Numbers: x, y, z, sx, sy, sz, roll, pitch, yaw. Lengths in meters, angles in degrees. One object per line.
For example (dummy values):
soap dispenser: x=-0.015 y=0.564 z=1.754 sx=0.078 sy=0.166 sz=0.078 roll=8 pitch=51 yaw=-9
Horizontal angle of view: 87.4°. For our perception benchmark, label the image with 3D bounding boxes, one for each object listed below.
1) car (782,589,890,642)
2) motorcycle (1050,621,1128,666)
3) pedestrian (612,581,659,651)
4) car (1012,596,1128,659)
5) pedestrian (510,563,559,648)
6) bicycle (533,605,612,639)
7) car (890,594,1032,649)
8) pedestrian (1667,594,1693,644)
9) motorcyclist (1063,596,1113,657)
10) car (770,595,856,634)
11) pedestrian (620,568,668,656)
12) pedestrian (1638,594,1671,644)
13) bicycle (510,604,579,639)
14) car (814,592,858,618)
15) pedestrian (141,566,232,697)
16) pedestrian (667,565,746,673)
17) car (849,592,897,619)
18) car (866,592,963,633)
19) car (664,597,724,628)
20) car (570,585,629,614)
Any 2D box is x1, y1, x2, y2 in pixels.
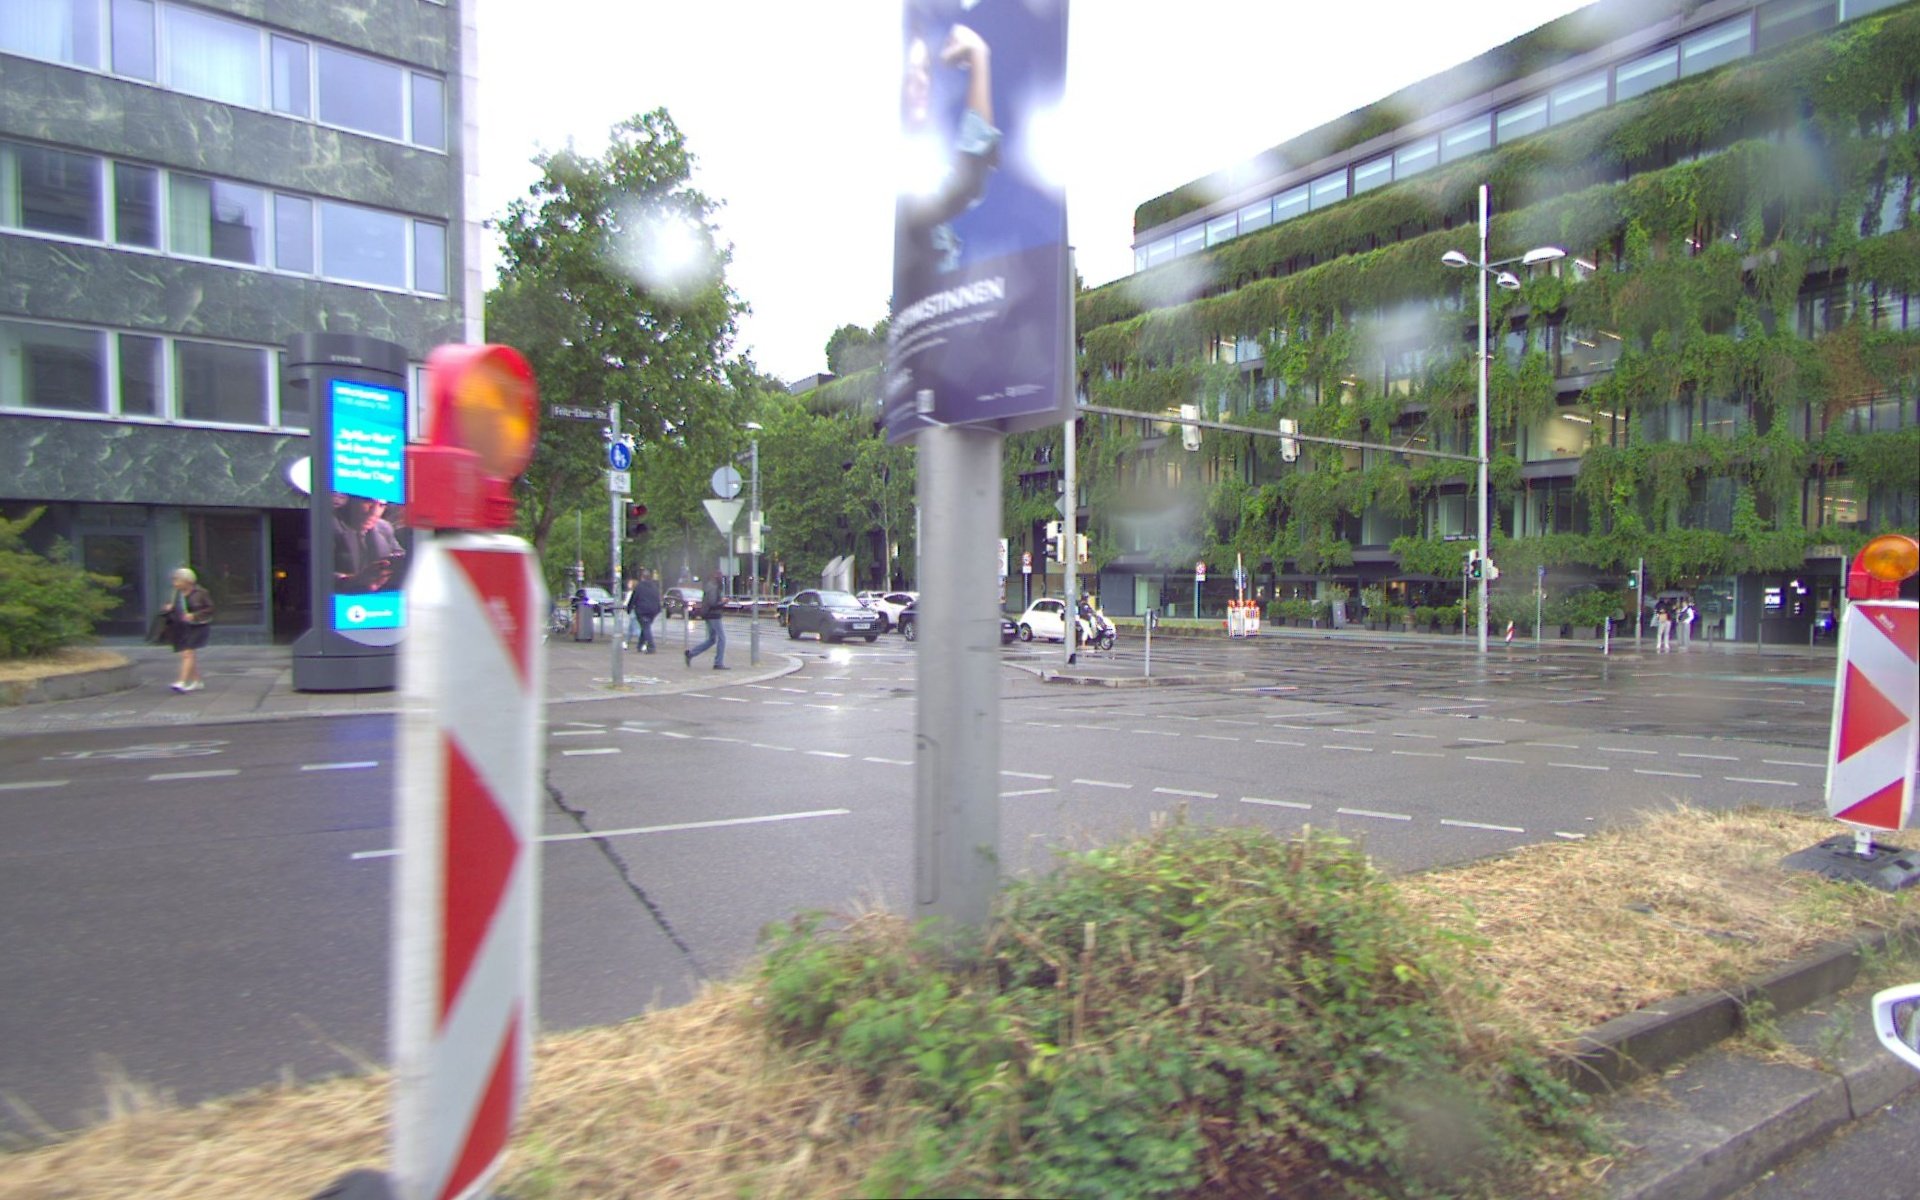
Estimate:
car: x=-4.209 y=0.476 z=33.593 sx=1.978 sy=1.674 sz=4.201 roll=1 pitch=0 yaw=-32
motorcycle: x=3.771 y=1.255 z=29.486 sx=2.204 sy=1.227 sz=0.843 roll=1 pitch=0 yaw=44
pedestrian: x=-7.722 y=0.386 z=23.910 sx=0.912 sy=1.606 sz=0.828 roll=0 pitch=-3 yaw=-30
car: x=3.645 y=0.885 z=33.689 sx=1.985 sy=1.948 sz=3.417 roll=1 pitch=0 yaw=-42
pedestrian: x=-9.785 y=0.157 z=23.081 sx=0.868 sy=1.878 sz=1.015 roll=1 pitch=-4 yaw=-34
bicycle: x=-11.383 y=0.646 z=29.595 sx=2.170 sy=0.968 sz=0.423 roll=1 pitch=0 yaw=-44
car: x=-0.036 y=0.659 z=33.082 sx=1.957 sy=1.674 sz=4.755 roll=1 pitch=0 yaw=-43
pedestrian: x=26.020 y=0.679 z=36.297 sx=0.731 sy=1.781 sz=0.972 roll=1 pitch=0 yaw=37
motorcyclist: x=3.767 y=0.768 z=29.495 sx=1.173 sy=1.725 sz=0.843 roll=1 pitch=0 yaw=44
car: x=-6.797 y=0.652 z=46.168 sx=1.986 sy=1.674 sz=4.050 roll=3 pitch=-1 yaw=-42
pedestrian: x=-7.063 y=0.287 z=22.447 sx=0.887 sy=1.910 sz=0.781 roll=0 pitch=-3 yaw=-30
pedestrian: x=25.441 y=0.701 z=36.790 sx=0.923 sy=1.781 sz=1.167 roll=1 pitch=0 yaw=37
bicycle: x=-11.651 y=0.611 z=28.209 sx=1.773 sy=0.946 sz=0.473 roll=1 pitch=0 yaw=-21
car: x=-10.245 y=0.400 z=82.632 sx=1.979 sy=2.040 sz=4.073 roll=1 pitch=0 yaw=-34
pedestrian: x=-10.208 y=0.402 z=13.280 sx=0.680 sy=1.675 sz=0.756 roll=1 pitch=1 yaw=-13
pedestrian: x=-4.683 y=0.342 z=18.536 sx=1.225 sy=1.911 sz=0.685 roll=1 pitch=2 yaw=-34
car: x=-6.770 y=0.425 z=77.735 sx=1.979 sy=2.040 sz=4.073 roll=1 pitch=0 yaw=-34
car: x=-1.852 y=0.464 z=40.117 sx=1.858 sy=1.543 sz=3.855 roll=1 pitch=0 yaw=-42
car: x=-15.409 y=0.704 z=57.999 sx=1.805 sy=1.674 sz=4.053 roll=2 pitch=-1 yaw=-40
car: x=-22.152 y=-0.068 z=61.645 sx=1.986 sy=1.674 sz=4.050 roll=3 pitch=-1 yaw=-42
